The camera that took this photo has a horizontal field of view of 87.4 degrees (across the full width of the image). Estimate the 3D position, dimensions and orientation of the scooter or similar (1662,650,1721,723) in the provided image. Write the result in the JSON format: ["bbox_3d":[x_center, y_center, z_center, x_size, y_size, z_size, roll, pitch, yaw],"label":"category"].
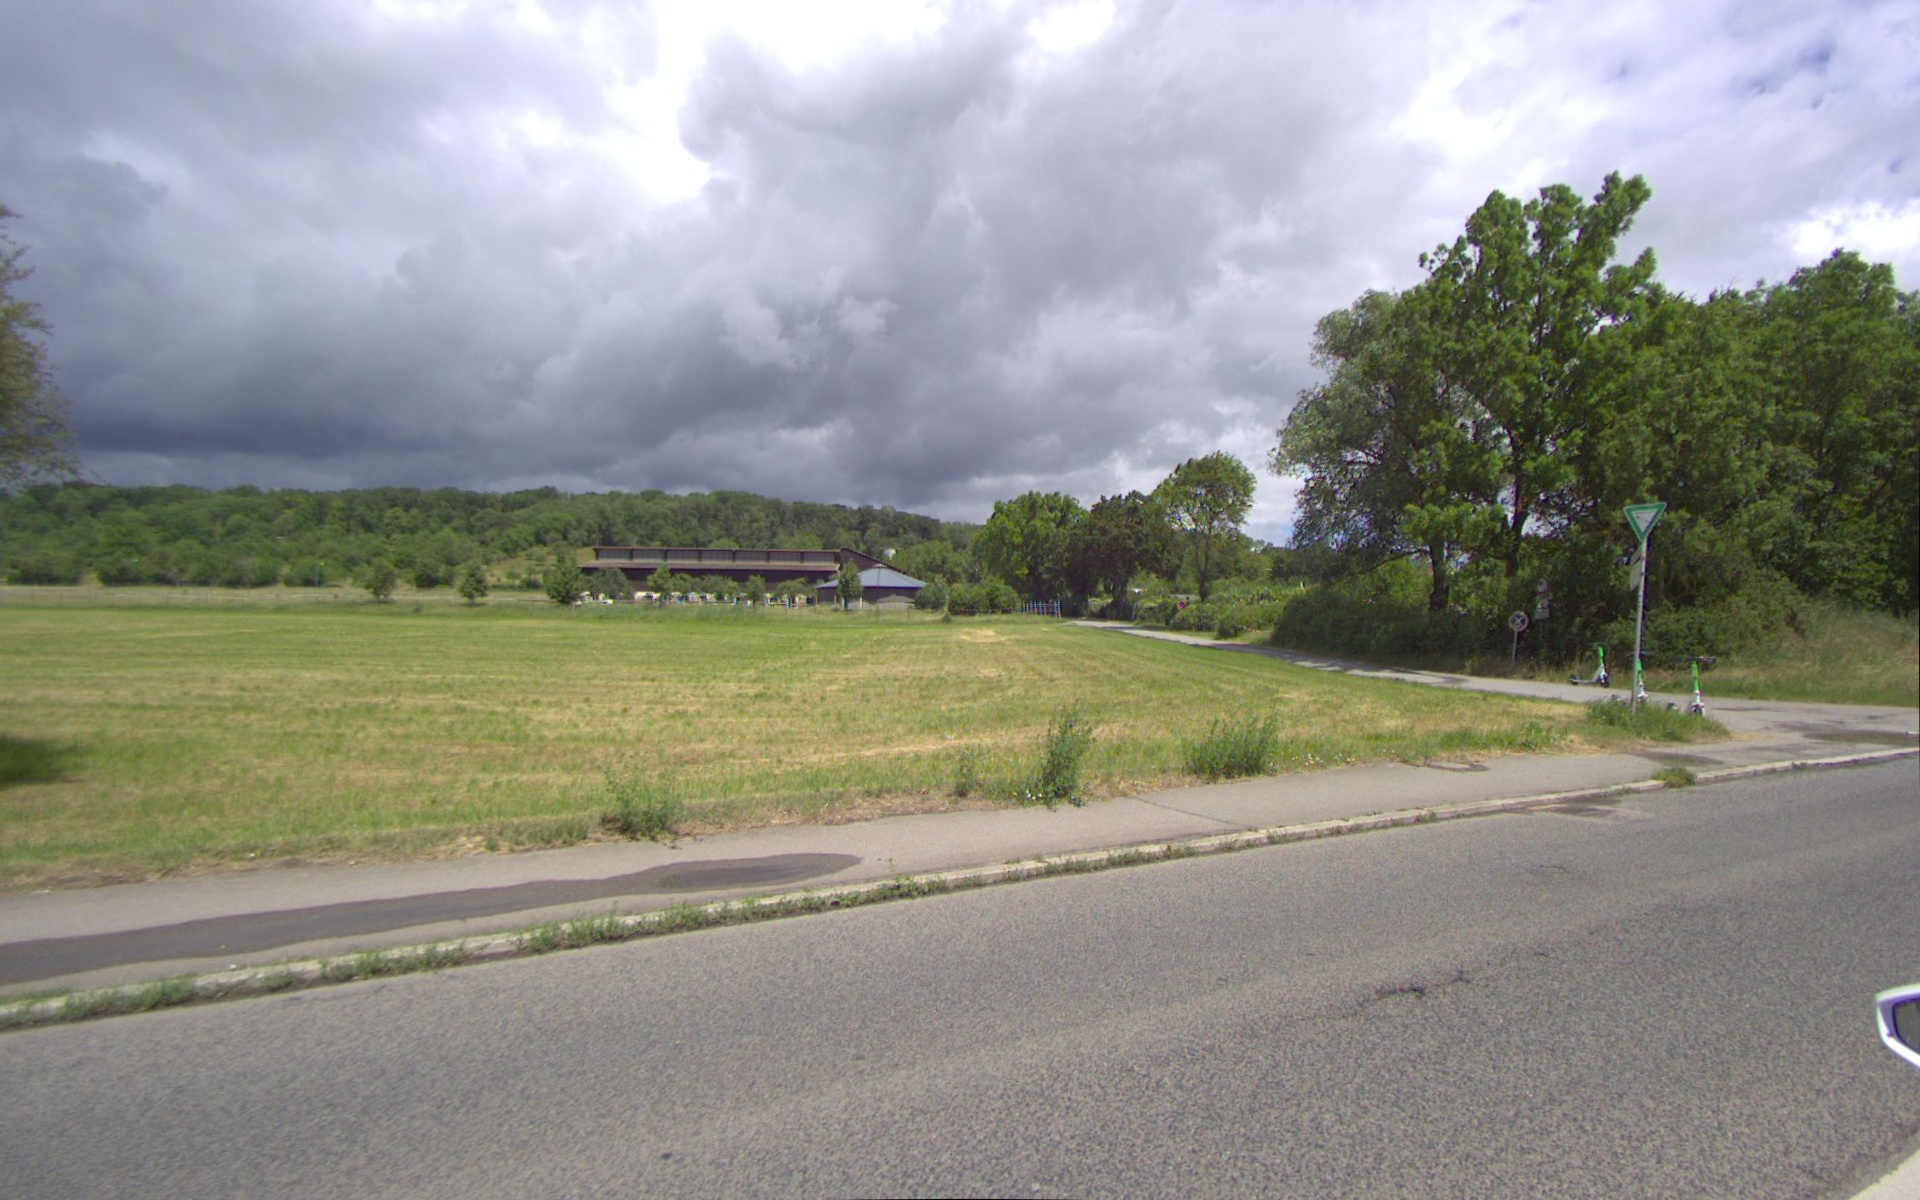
[{"bbox_3d":[12.934,1.508,17.783,0.399,1.184,1.351,1,0,17],"label":"scooter or similar"}]

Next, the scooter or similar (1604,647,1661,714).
[{"bbox_3d":[12.867,1.515,19.253,0.398,1.184,1.352,1,0,11],"label":"scooter or similar"}]

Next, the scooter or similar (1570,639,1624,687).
[{"bbox_3d":[16.815,1.650,26.526,0.400,1.184,1.243,1,0,-17],"label":"scooter or similar"}]
